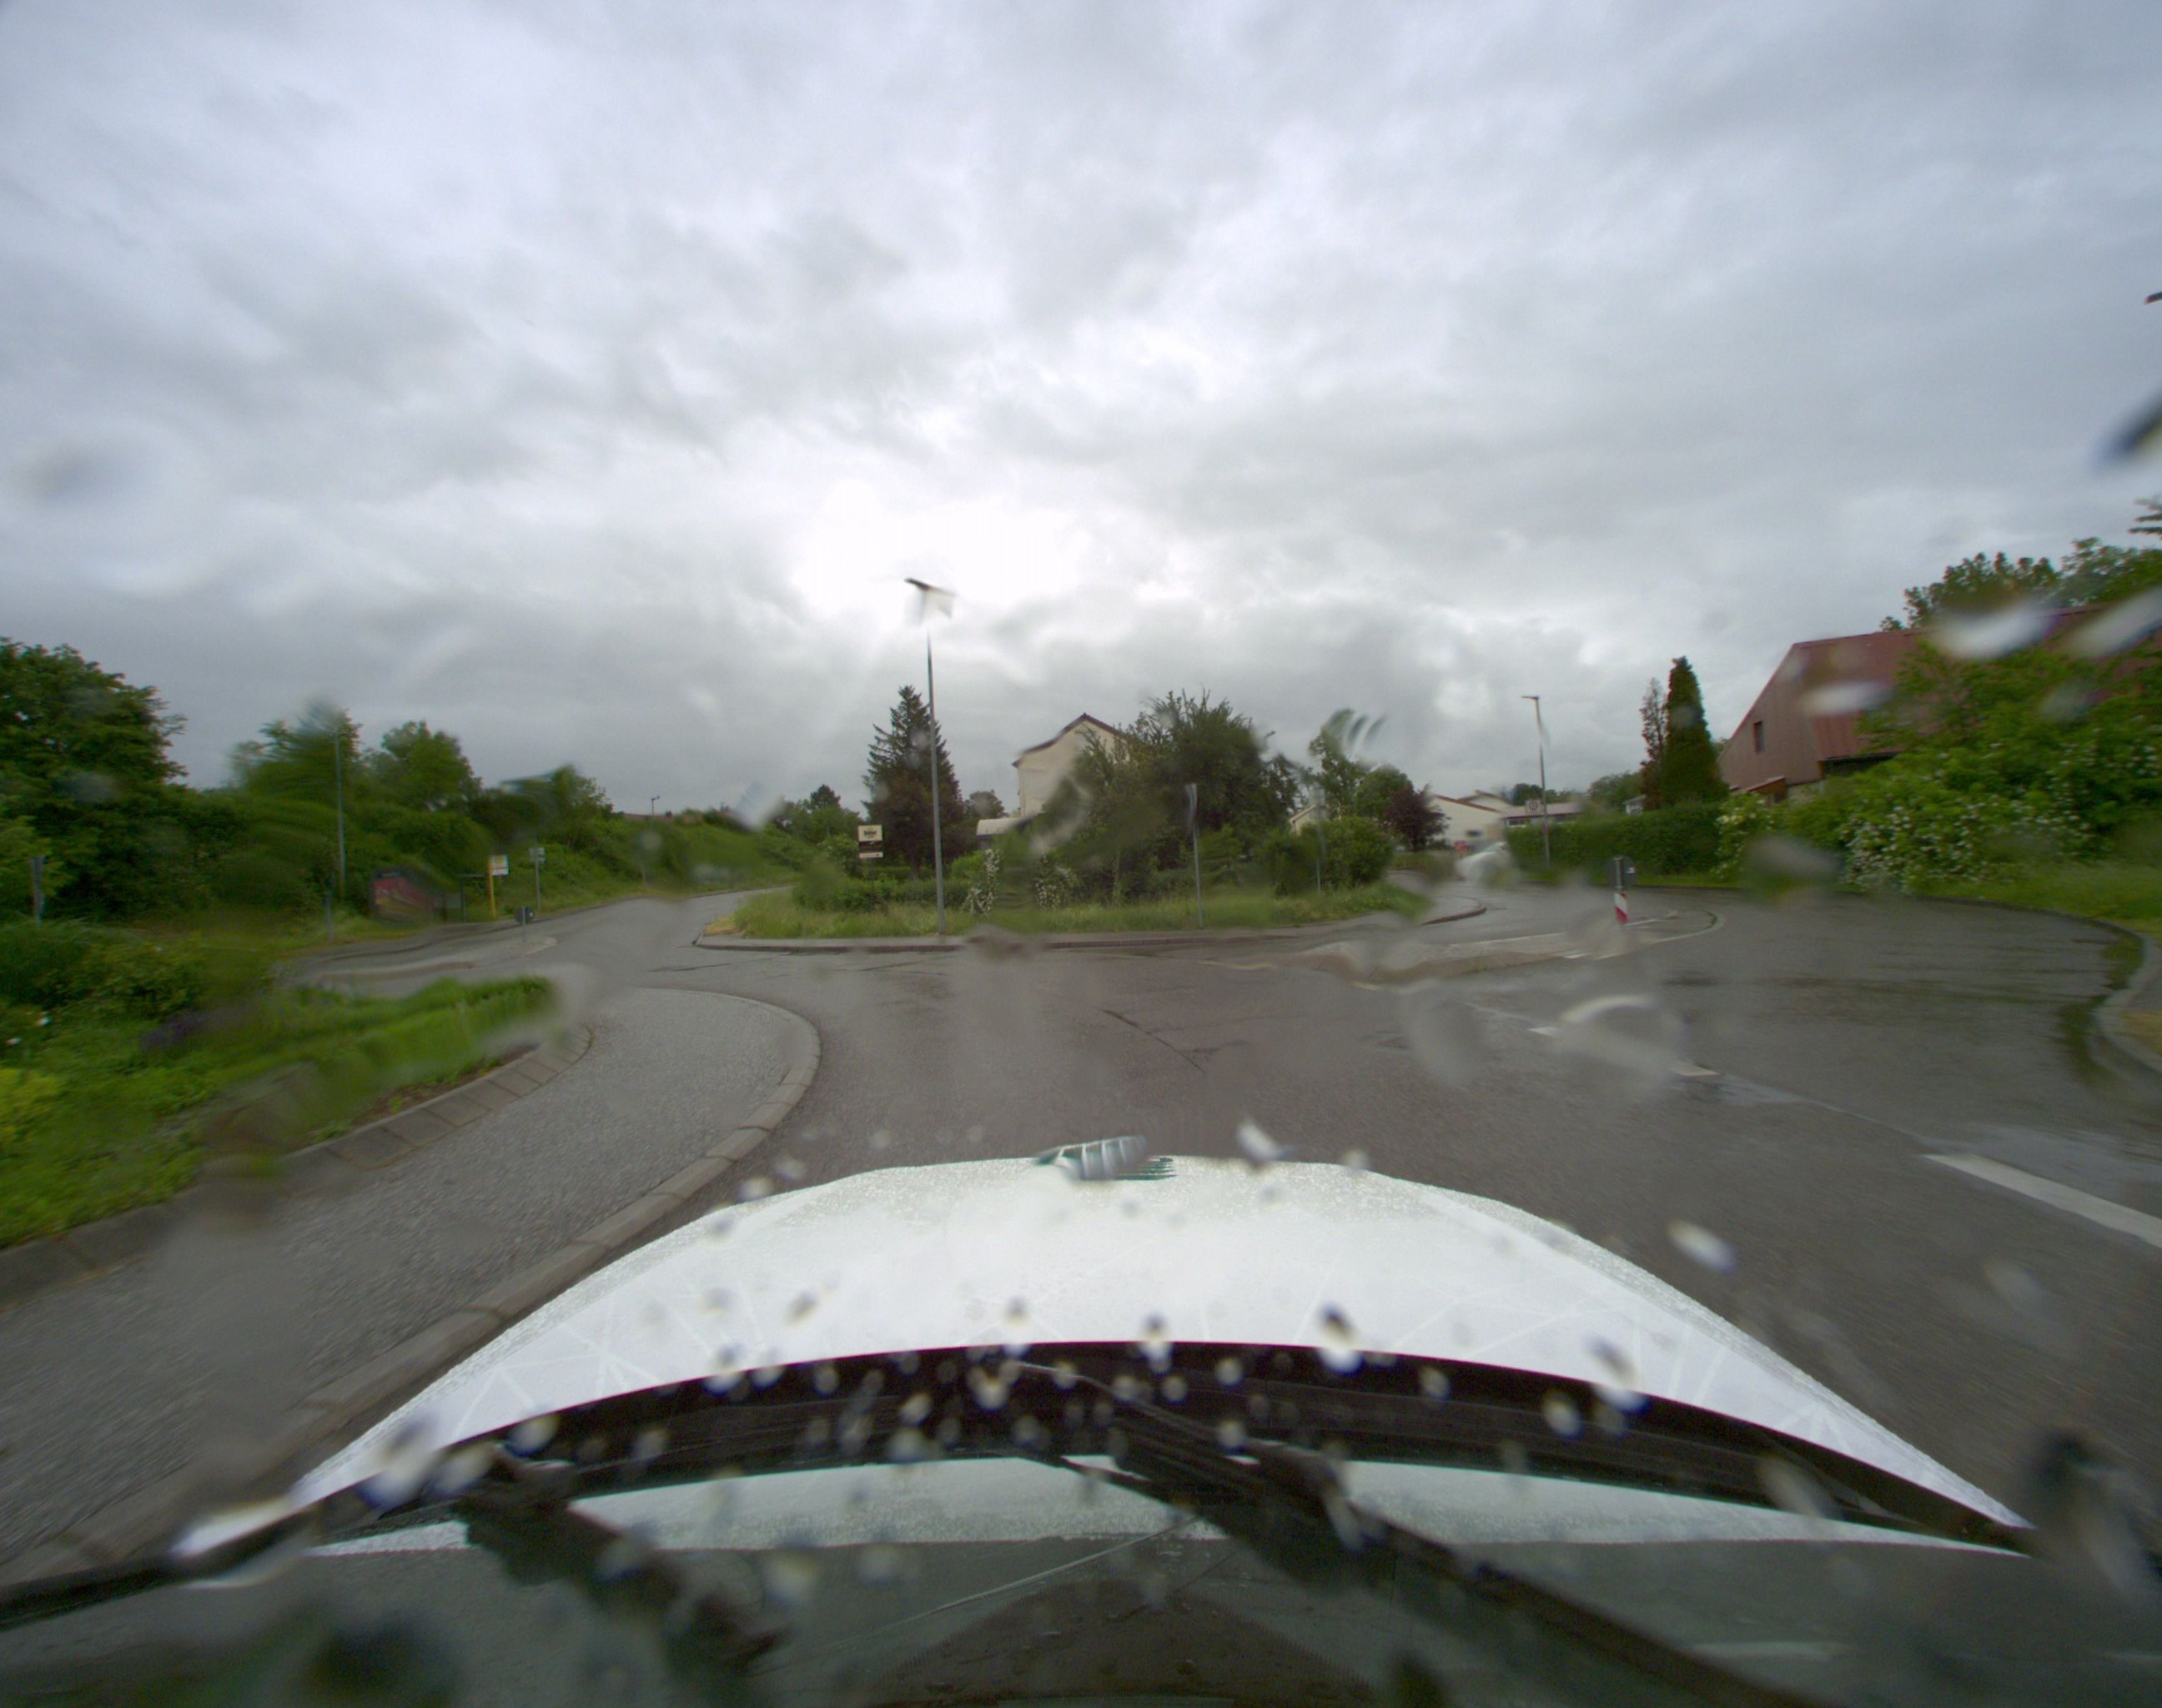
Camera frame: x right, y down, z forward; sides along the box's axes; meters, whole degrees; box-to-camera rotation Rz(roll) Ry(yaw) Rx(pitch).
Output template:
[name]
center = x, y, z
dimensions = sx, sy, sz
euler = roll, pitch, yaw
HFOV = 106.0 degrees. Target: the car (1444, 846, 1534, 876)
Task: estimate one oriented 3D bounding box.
[car]
center = 22.075, 0.373, 44.180
dimensions = 3.967, 1.374, 1.787
euler = -3, -1, 5
